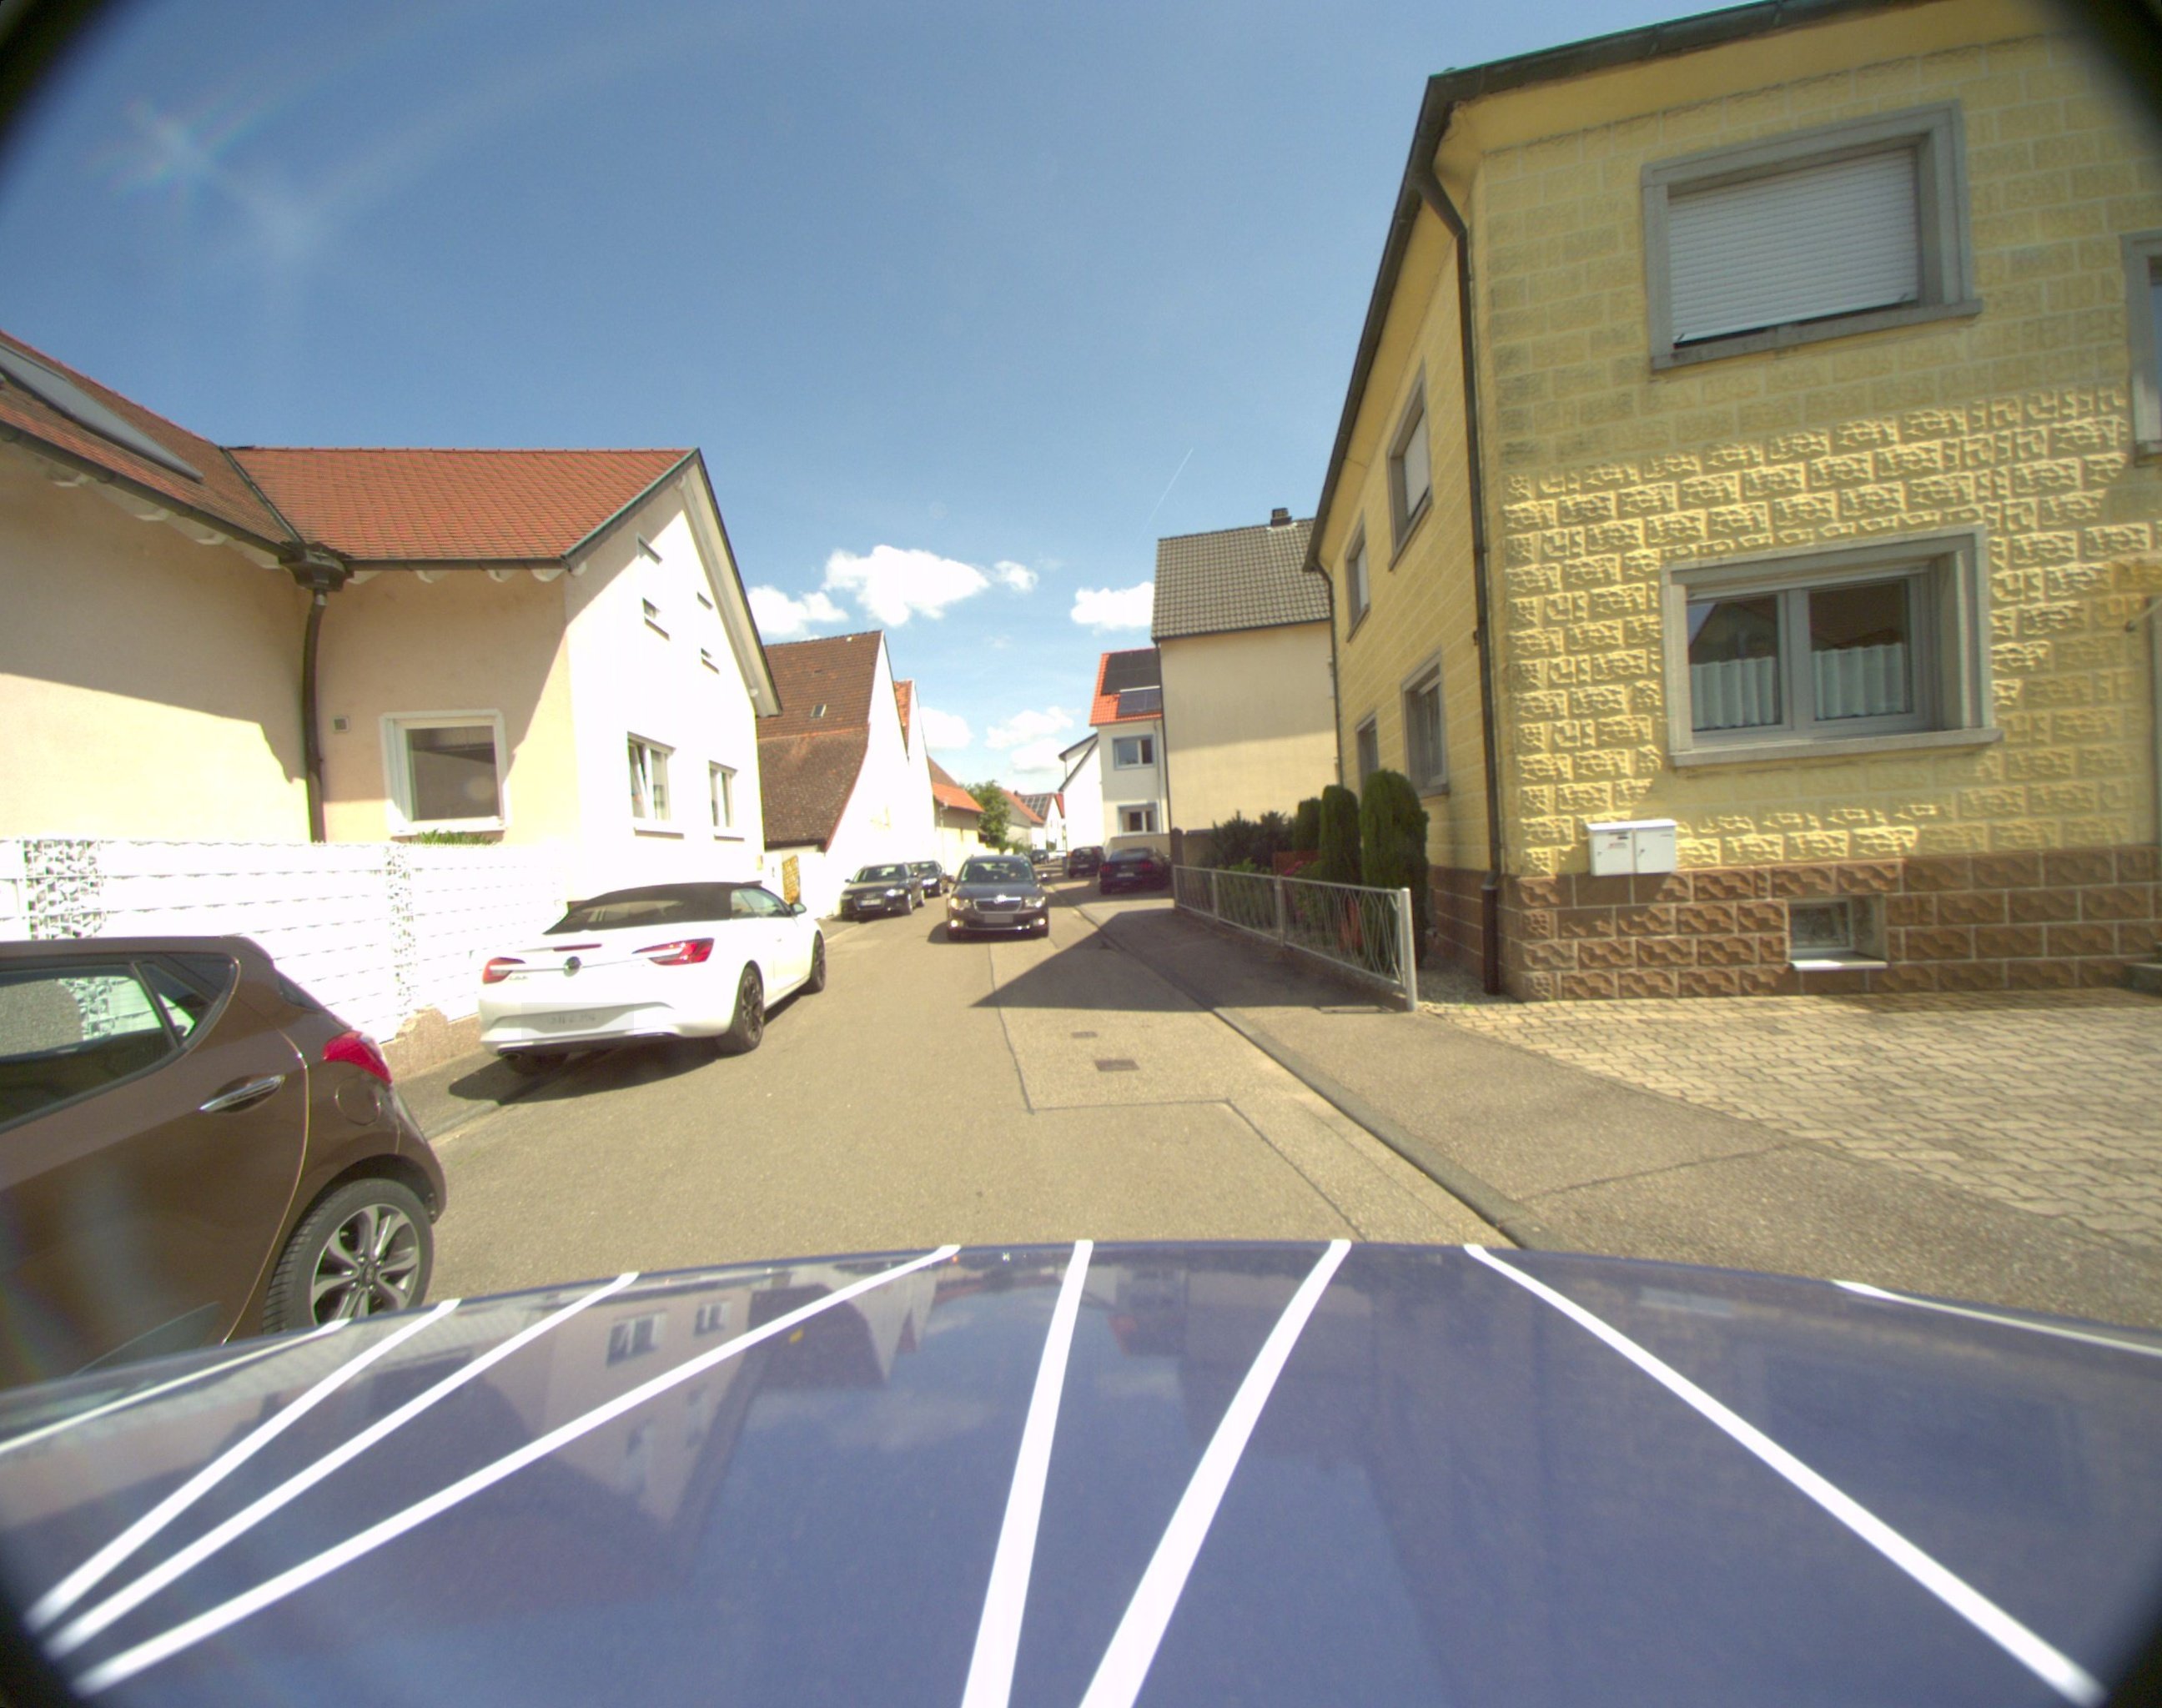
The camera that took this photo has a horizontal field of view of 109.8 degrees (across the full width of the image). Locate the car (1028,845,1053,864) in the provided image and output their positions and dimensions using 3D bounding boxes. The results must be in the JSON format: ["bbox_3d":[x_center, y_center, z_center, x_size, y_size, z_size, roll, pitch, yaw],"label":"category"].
[{"bbox_3d":[-4.099,0.022,76.738,1.784,1.600,4.000,-6,1,6],"label":"car"}]

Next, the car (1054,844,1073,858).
[{"bbox_3d":[-2.166,-0.352,97.112,1.784,1.492,4.039,-6,1,6],"label":"car"}]

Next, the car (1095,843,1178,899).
[{"bbox_3d":[1.857,0.454,23.971,1.772,1.342,4.472,-5,1,14],"label":"car"}]

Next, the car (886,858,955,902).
[{"bbox_3d":[-6.152,0.946,29.605,1.901,1.357,4.412,-4,1,-3],"label":"car"}]

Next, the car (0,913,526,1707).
[{"bbox_3d":[-3.053,1.129,1.123,1.717,1.524,4.032,-7,2,-8],"label":"car"}]

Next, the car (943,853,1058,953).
[{"bbox_3d":[-1.644,0.840,14.376,1.786,1.526,4.707,-1,-2,-9],"label":"car"}]

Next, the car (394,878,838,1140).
[{"bbox_3d":[-3.883,1.116,7.538,1.901,1.420,4.733,-4,1,-8],"label":"car"}]

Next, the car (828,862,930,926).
[{"bbox_3d":[-5.539,1.035,21.475,1.901,1.357,4.734,-4,1,-5],"label":"car"}]

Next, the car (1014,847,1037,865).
[{"bbox_3d":[-4.896,0.152,67.622,1.785,1.471,3.999,-3,1,-1],"label":"car"}]

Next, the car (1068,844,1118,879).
[{"bbox_3d":[0.632,0.332,37.520,1.640,1.446,3.789,-5,0,12],"label":"car"}]
